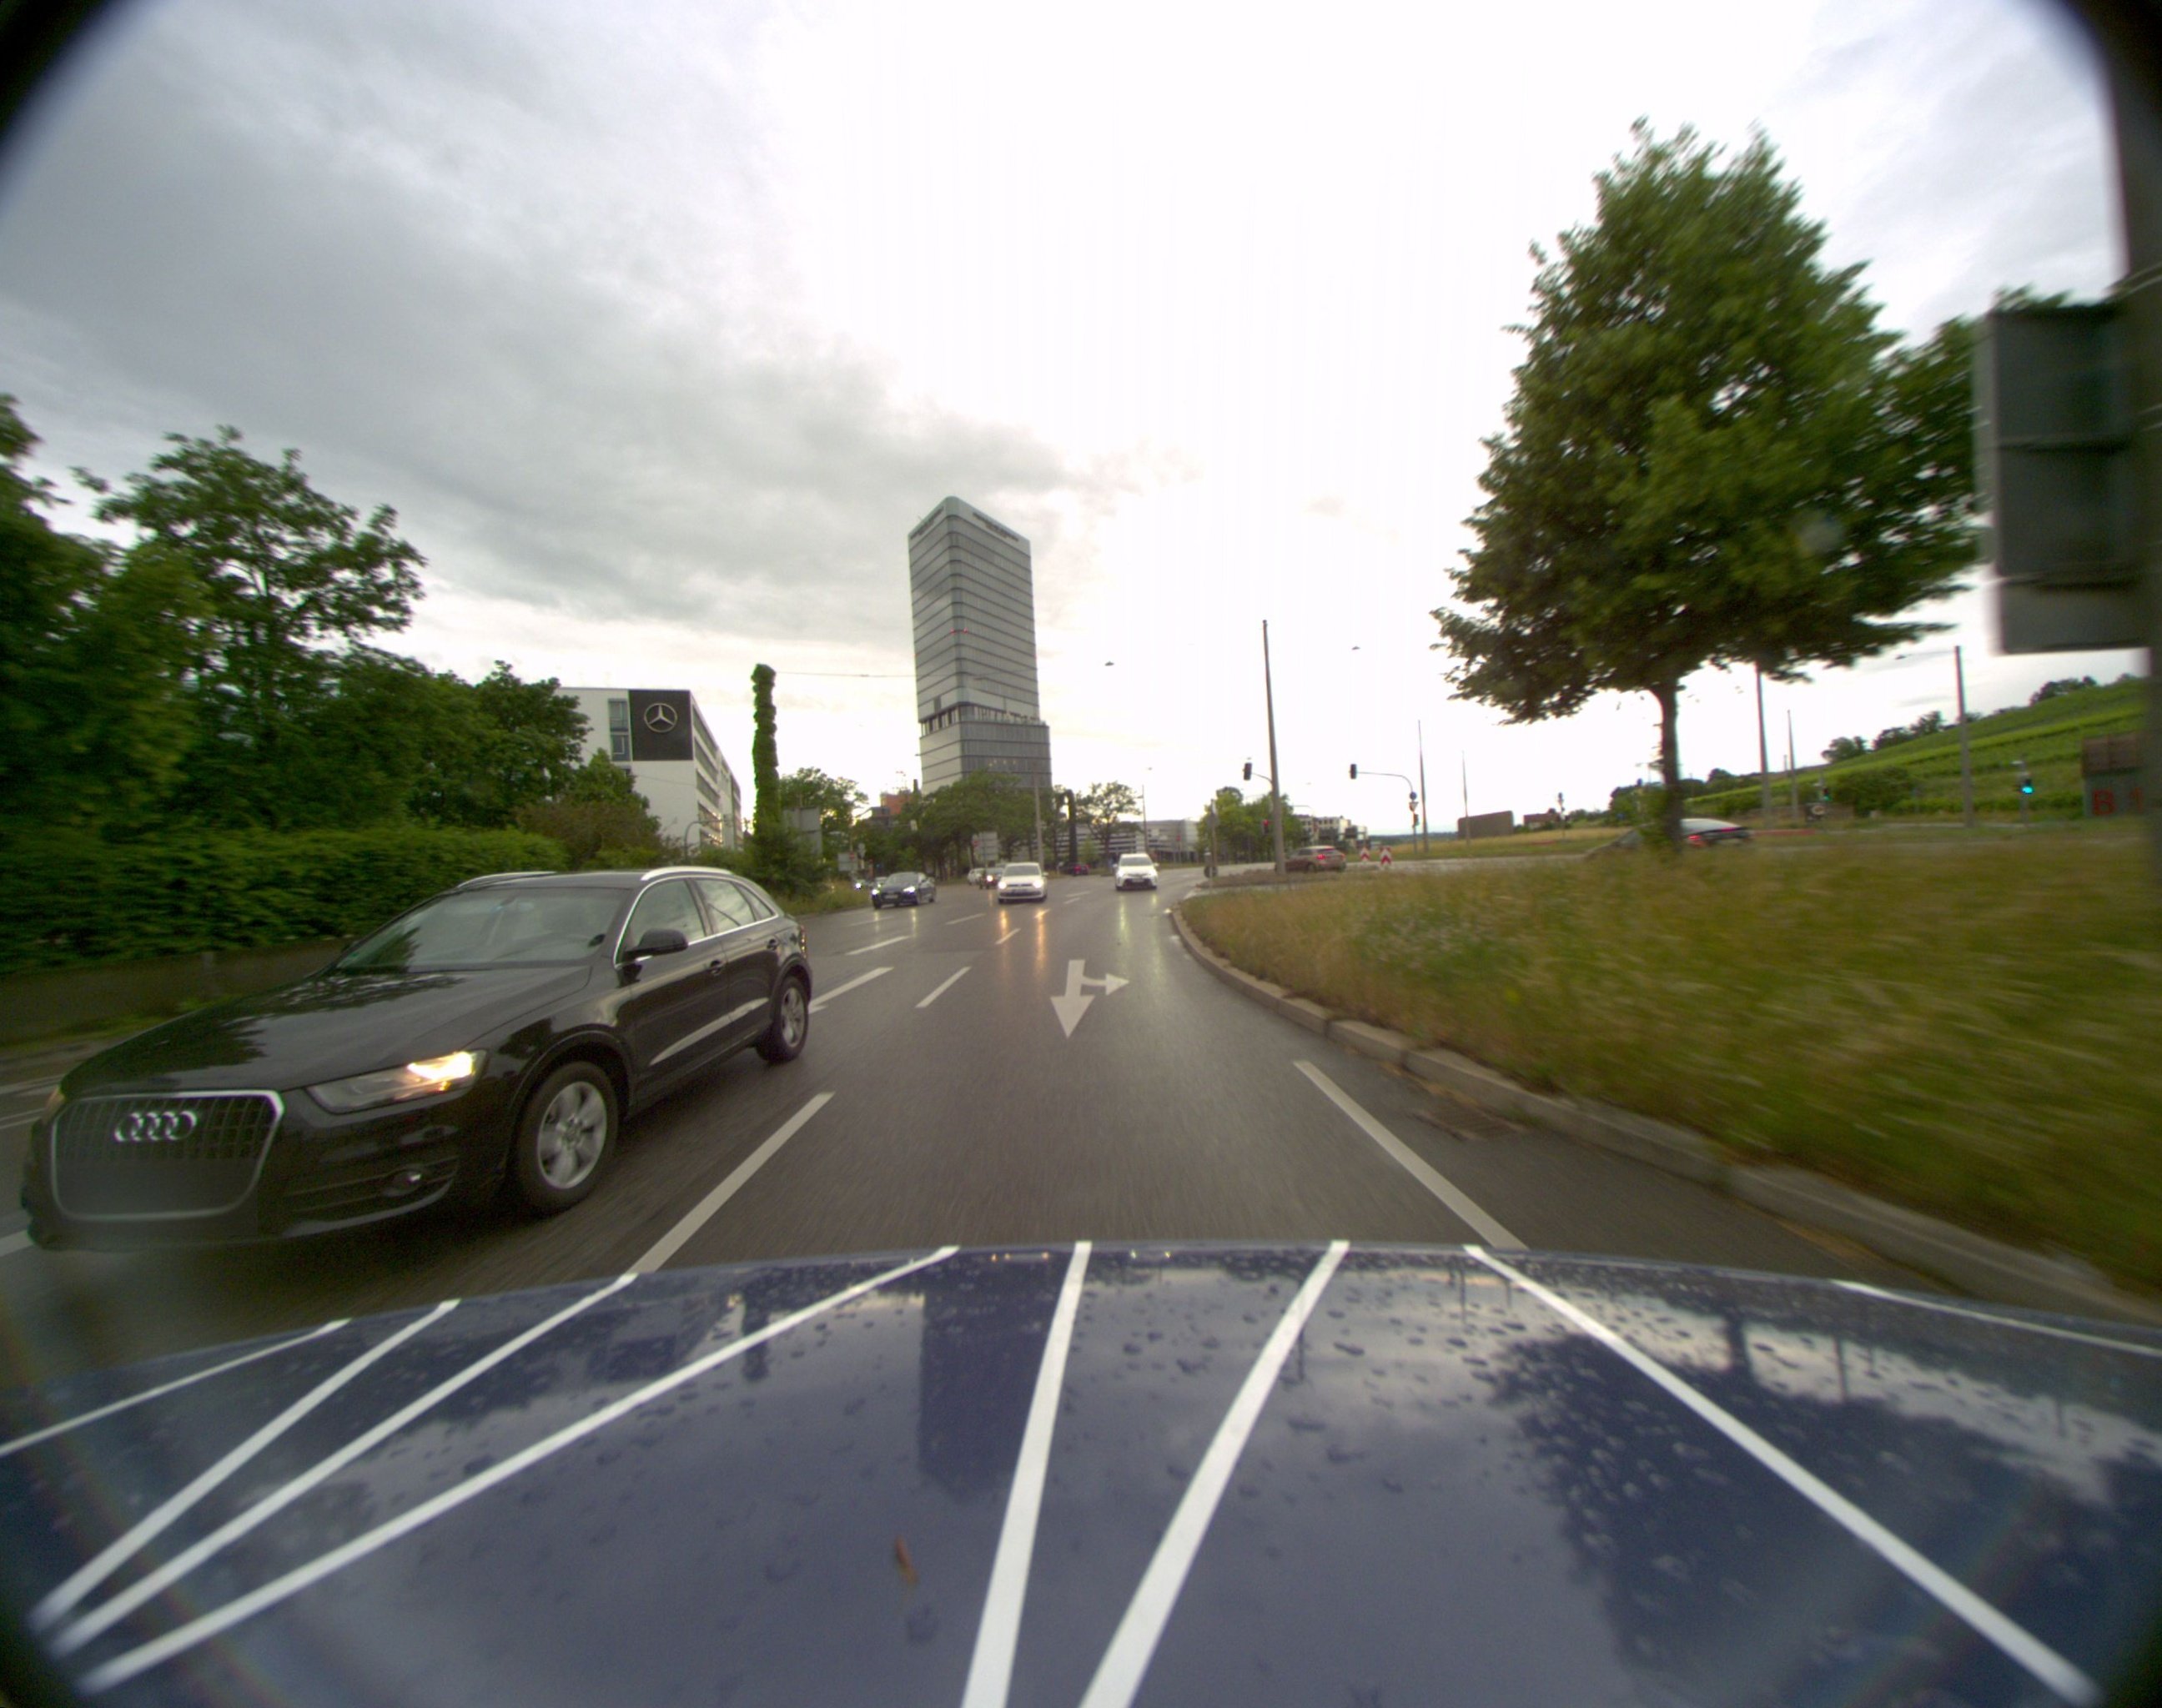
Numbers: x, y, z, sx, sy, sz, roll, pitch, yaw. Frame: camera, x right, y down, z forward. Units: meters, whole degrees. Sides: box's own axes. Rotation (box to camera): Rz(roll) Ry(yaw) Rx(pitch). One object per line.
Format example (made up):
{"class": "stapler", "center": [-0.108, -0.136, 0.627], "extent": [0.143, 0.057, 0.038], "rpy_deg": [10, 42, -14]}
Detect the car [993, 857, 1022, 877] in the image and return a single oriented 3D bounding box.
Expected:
{"class": "car", "center": [-10.435, 1.880, 107.497], "extent": [1.934, 2.569, 5.448], "rpy_deg": [-4, 0, -30]}

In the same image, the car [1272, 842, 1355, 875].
{"class": "car", "center": [11.775, 0.267, 38.763], "extent": [1.740, 1.453, 4.335], "rpy_deg": [-4, 0, -19]}

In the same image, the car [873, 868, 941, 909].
{"class": "car", "center": [-7.174, 1.389, 31.752], "extent": [1.759, 1.390, 4.000], "rpy_deg": [-3, 0, 1]}

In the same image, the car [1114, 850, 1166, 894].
{"class": "car", "center": [2.597, 0.763, 34.284], "extent": [1.827, 1.575, 4.295], "rpy_deg": [-4, 3, -1]}

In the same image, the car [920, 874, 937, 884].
{"class": "car", "center": [-25.211, 4.088, 125.560], "extent": [1.685, 1.476, 3.784], "rpy_deg": [-4, 0, -28]}

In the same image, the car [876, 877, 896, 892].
{"class": "car", "center": [-21.055, 3.285, 81.894], "extent": [1.614, 1.504, 3.626], "rpy_deg": [-4, 0, -22]}

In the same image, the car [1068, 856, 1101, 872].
{"class": "car", "center": [0.421, 1.142, 87.370], "extent": [1.741, 1.587, 4.332], "rpy_deg": [-4, 0, -30]}

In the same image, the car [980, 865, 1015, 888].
{"class": "car", "center": [-5.753, 1.553, 51.881], "extent": [1.571, 1.406, 3.874], "rpy_deg": [-4, 0, -17]}

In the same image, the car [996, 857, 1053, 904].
{"class": "car", "center": [-2.052, 0.943, 28.699], "extent": [1.730, 1.464, 4.263], "rpy_deg": [-5, 0, 0]}

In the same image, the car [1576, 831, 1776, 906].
{"class": "car", "center": [15.170, 0.325, 19.744], "extent": [1.882, 1.644, 4.358], "rpy_deg": [-3, 0, 3]}

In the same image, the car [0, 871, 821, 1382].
{"class": "car", "center": [-3.222, 0.954, 4.536], "extent": [1.729, 1.525, 4.127], "rpy_deg": [-3, 0, 2]}

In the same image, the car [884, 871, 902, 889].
{"class": "car", "center": [-22.863, 3.168, 92.317], "extent": [1.614, 2.002, 3.626], "rpy_deg": [-4, 0, -22]}
